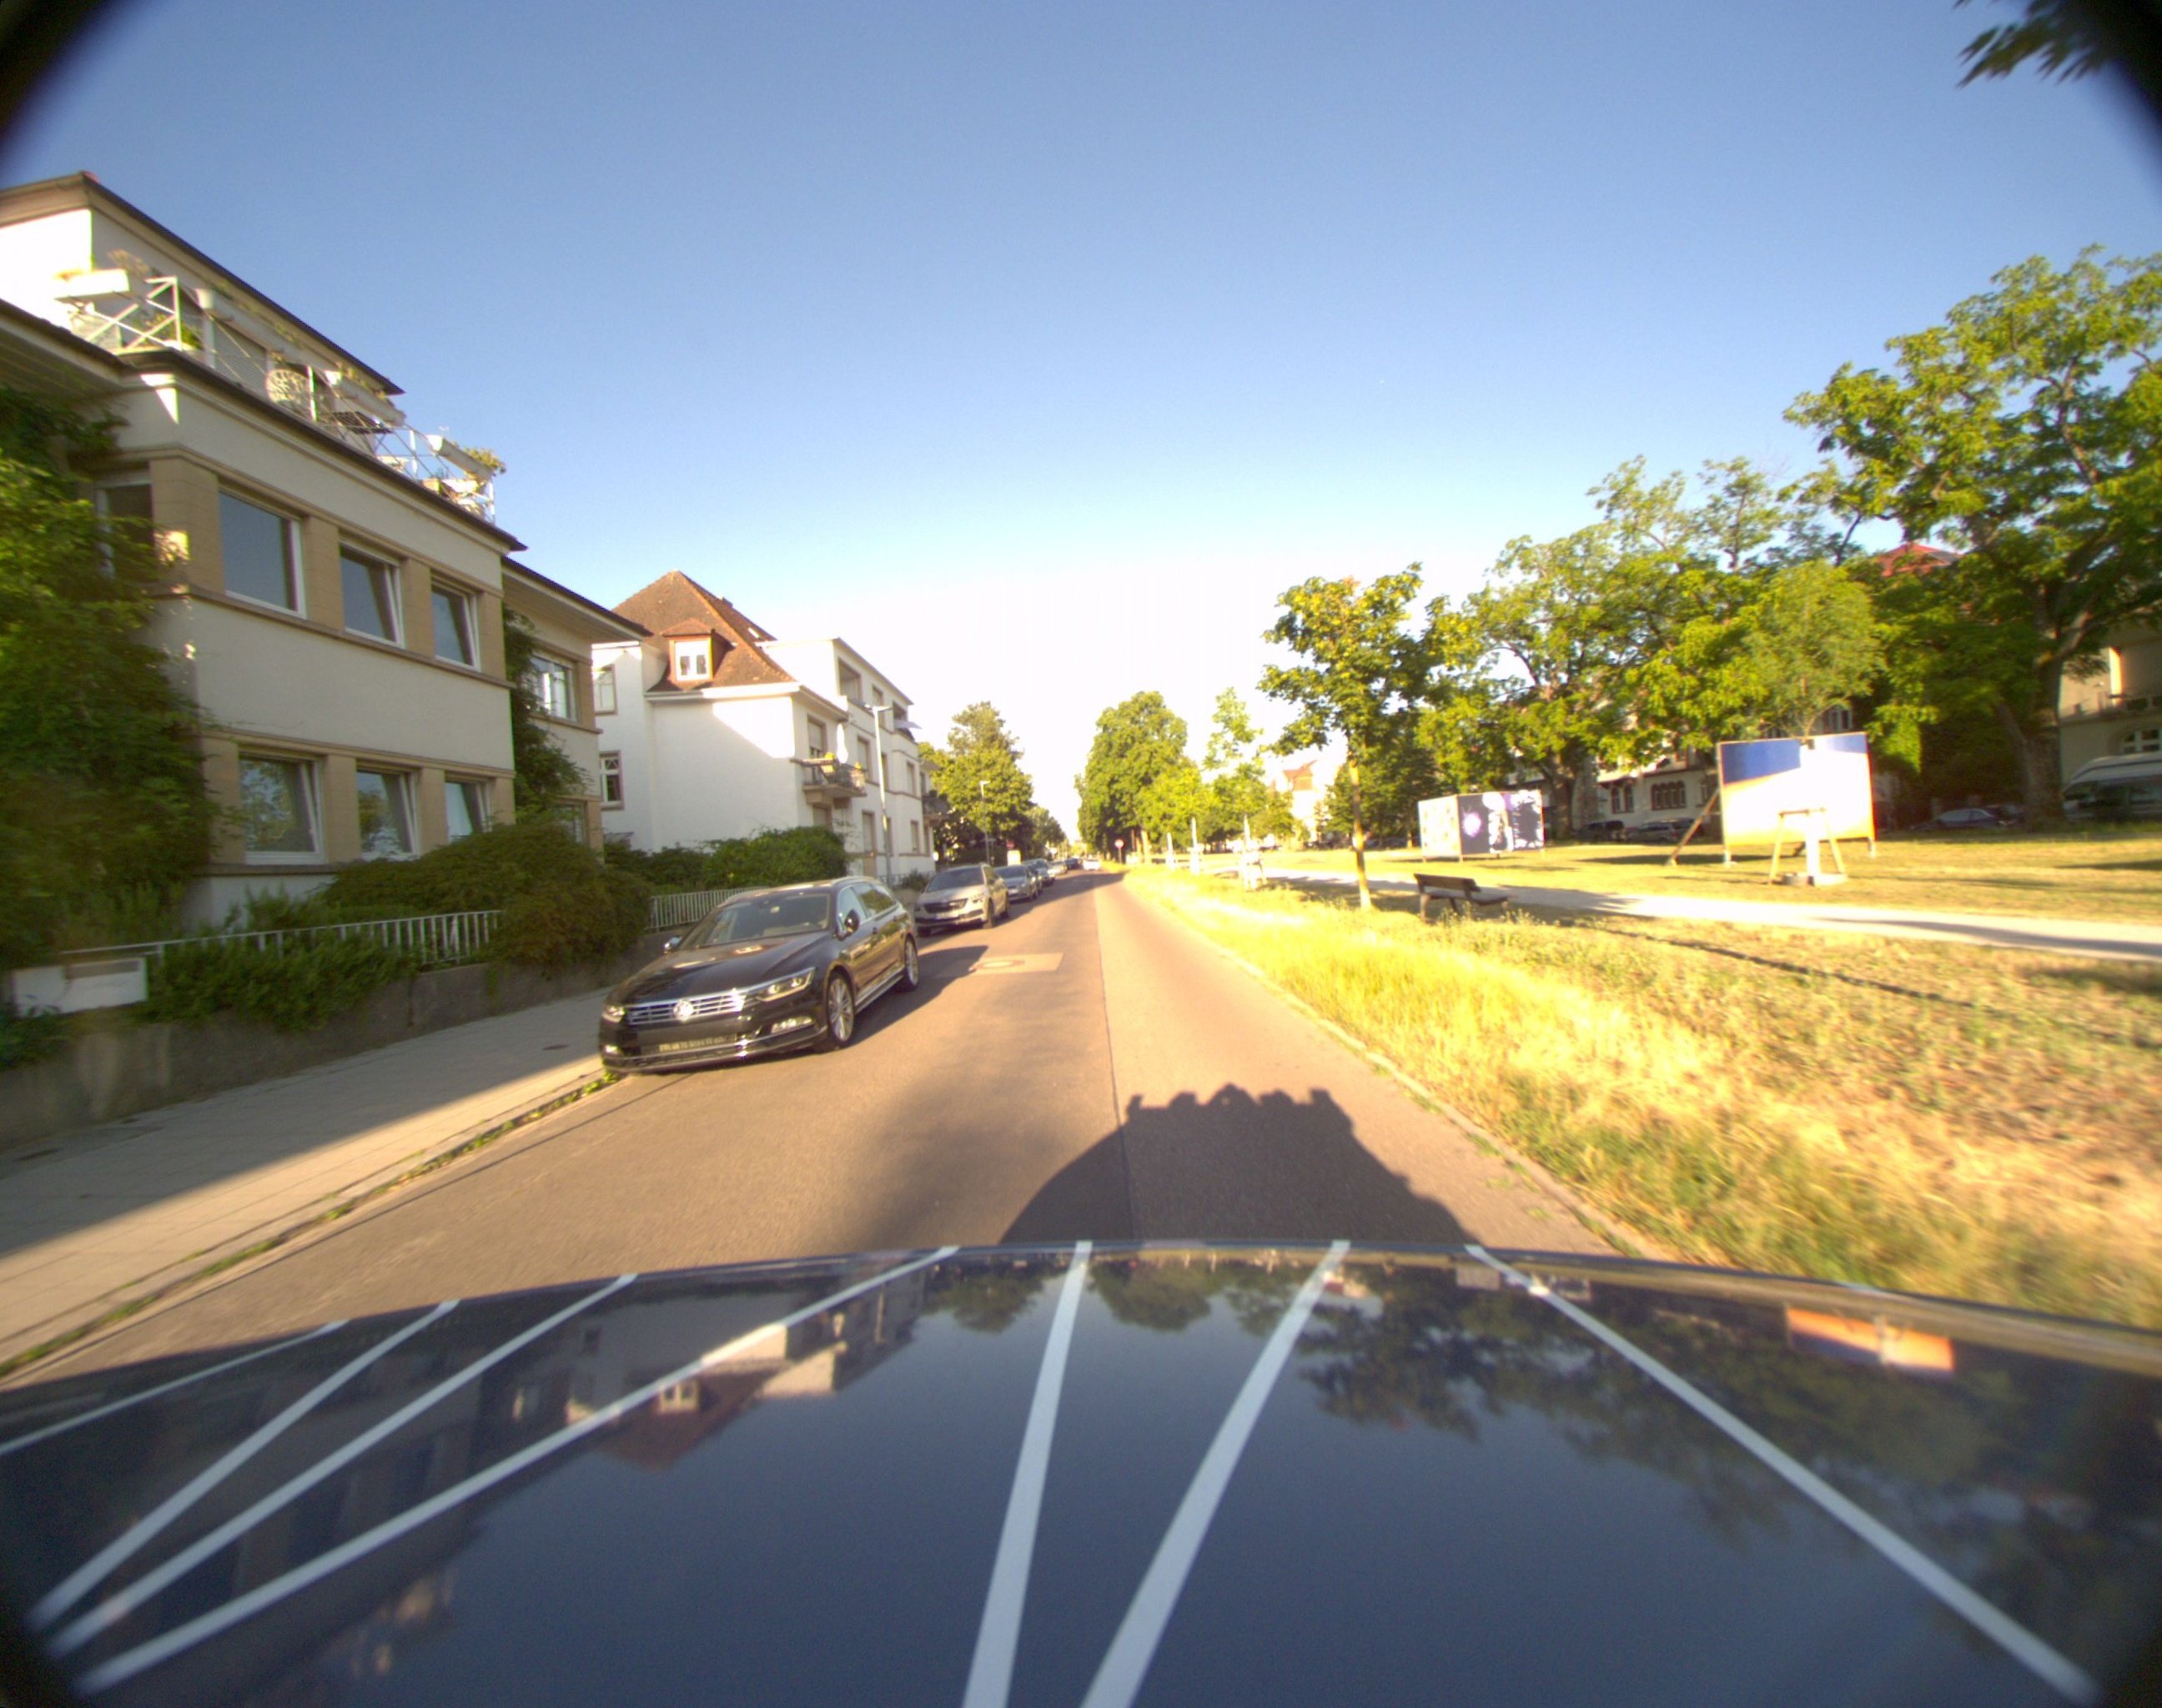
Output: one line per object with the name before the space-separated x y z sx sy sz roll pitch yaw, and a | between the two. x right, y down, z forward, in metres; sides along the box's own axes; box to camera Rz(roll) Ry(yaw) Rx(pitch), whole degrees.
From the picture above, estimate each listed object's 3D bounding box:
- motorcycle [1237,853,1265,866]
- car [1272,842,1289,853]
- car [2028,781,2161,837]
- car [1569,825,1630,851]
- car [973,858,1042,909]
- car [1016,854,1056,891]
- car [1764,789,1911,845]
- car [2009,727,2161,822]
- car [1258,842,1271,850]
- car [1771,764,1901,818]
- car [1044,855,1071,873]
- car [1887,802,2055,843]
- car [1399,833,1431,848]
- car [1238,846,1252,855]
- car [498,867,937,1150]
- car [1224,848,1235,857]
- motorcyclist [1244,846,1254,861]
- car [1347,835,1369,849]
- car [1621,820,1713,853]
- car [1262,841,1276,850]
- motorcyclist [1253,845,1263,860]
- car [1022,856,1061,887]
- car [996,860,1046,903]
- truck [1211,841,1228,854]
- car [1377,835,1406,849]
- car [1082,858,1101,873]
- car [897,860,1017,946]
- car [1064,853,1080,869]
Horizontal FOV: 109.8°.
motorcycle | 13.866 0.433 61.955 2.109 0.951 0.566 -4 1 2
car | 36.082 -1.152 137.453 1.998 1.692 4.000 -4 0 1
car | 34.298 -1.484 24.201 1.999 1.632 4.950 -5 1 -1
car | 40.545 -1.203 59.526 1.624 1.814 4.287 -4 0 -3
car | -2.716 1.074 29.255 1.916 1.550 4.567 -8 -1 1
car | -2.517 0.995 43.433 1.805 1.639 4.583 -9 1 0
car | 34.376 -1.599 34.729 1.999 2.161 4.571 -4 0 -1
car | 40.005 -3.025 28.854 1.998 3.230 6.075 -4 0 1
car | 41.706 -1.786 172.770 1.999 1.834 3.998 0 1 -2
car | 40.312 -3.290 40.795 1.950 2.625 5.043 0 1 1
car | -2.216 0.906 72.533 2.111 1.396 4.132 -9 0 1
car | 34.292 -1.166 29.475 1.857 1.308 4.042 -5 1 4
car | 34.854 -1.379 79.381 1.560 1.360 3.642 -4 0 -3
car | 36.302 -0.849 168.475 2.125 2.002 3.999 0 1 -1
car | -3.048 1.151 7.865 1.999 1.588 4.885 -8 1 0
car | 36.871 -0.436 188.649 1.998 2.002 4.001 -4 0 3
motorcyclist | 13.698 -0.060 61.988 0.575 1.143 0.750 -4 0 1
car | 41.640 -1.753 114.347 1.998 2.002 4.001 -3 0 4
car | 34.638 -0.989 45.099 1.999 1.718 4.344 -4 0 0
car | 41.315 -1.855 166.789 1.999 1.872 3.998 0 1 -2
motorcyclist | 14.402 -0.120 61.961 0.575 1.143 0.750 -4 0 1
car | -2.526 1.069 49.274 1.880 1.525 4.589 -9 1 2
car | -2.646 1.186 34.549 1.767 1.427 4.302 -10 1 -1
truck | 37.238 -1.778 204.333 2.785 3.127 7.710 -4 0 0
car | 35.014 -1.311 85.686 1.560 1.408 3.642 -4 0 -3
car | 1.170 1.260 86.540 1.998 1.483 4.000 -4 0 1
car | -2.911 1.087 18.905 1.888 1.528 4.461 -7 1 3
car | -1.313 0.962 109.863 1.998 2.179 4.001 -4 0 2
